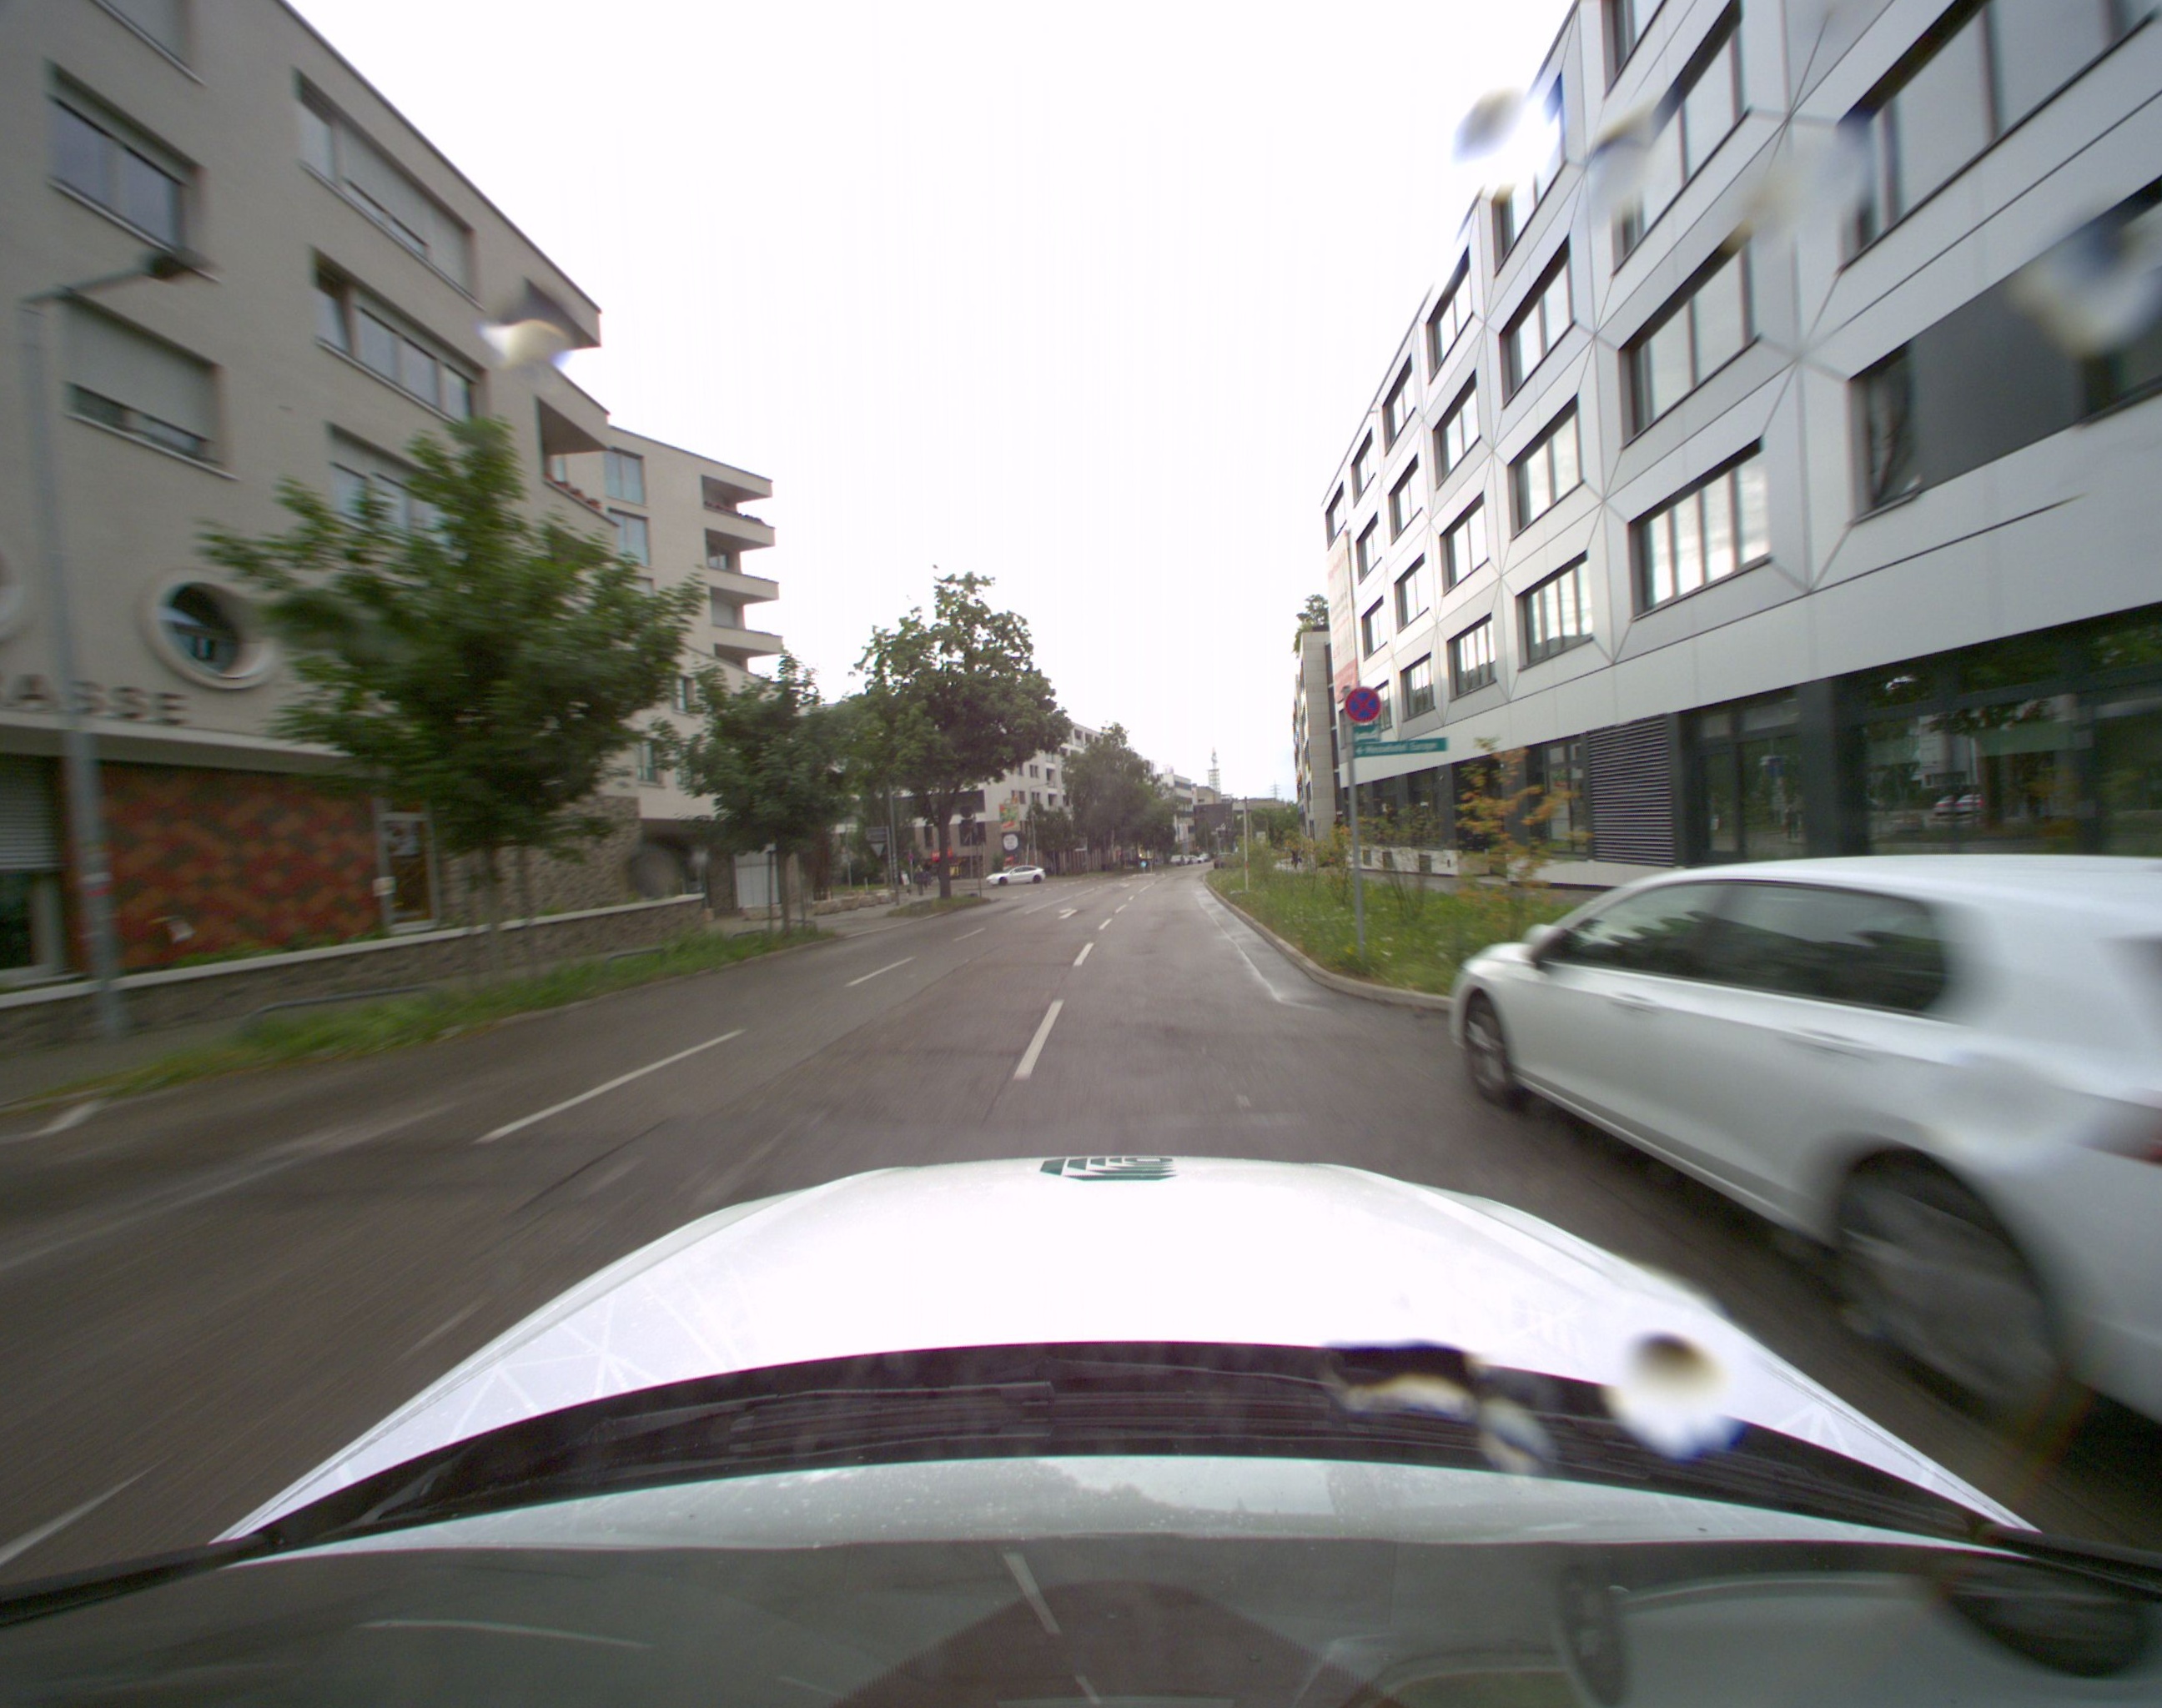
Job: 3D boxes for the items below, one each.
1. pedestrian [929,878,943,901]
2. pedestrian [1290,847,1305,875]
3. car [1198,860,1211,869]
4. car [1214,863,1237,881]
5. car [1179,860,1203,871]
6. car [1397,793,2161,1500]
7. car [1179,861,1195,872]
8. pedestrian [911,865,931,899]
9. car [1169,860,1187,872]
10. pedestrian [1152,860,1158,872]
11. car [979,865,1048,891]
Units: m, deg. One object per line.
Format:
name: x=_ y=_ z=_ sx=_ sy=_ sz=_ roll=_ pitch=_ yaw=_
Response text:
pedestrian: x=-13.290 y=3.223 z=74.536 sx=0.878 sy=2.013 sz=1.120 roll=-2 pitch=-1 yaw=7
pedestrian: x=14.637 y=0.495 z=55.096 sx=0.817 sy=1.796 sz=0.780 roll=-4 pitch=-2 yaw=9
car: x=22.663 y=1.900 z=149.433 sx=1.900 sy=1.481 sz=4.372 roll=-3 pitch=-2 yaw=13
car: x=13.065 y=1.591 z=73.474 sx=1.534 sy=1.478 sz=3.676 roll=-3 pitch=0 yaw=16
car: x=18.444 y=1.894 z=136.926 sx=3.962 sy=1.577 sz=2.004 roll=-4 pitch=-1 yaw=6
car: x=3.308 y=0.594 z=3.777 sx=2.031 sy=1.464 sz=4.504 roll=-3 pitch=-1 yaw=2
car: x=17.065 y=1.989 z=130.556 sx=1.782 sy=1.516 sz=4.264 roll=-3 pitch=-2 yaw=17
pedestrian: x=-9.717 y=1.708 z=49.488 sx=1.053 sy=2.014 sz=1.097 roll=-3 pitch=-2 yaw=-6
car: x=14.407 y=1.742 z=120.732 sx=2.062 sy=1.609 sz=4.703 roll=-5 pitch=-1 yaw=14
pedestrian: x=11.225 y=1.772 z=122.878 sx=0.704 sy=1.683 sz=0.959 roll=-4 pitch=-1 yaw=11
car: x=-5.157 y=1.822 z=62.742 sx=4.839 sy=1.661 sz=2.042 roll=-3 pitch=-1 yaw=-33
